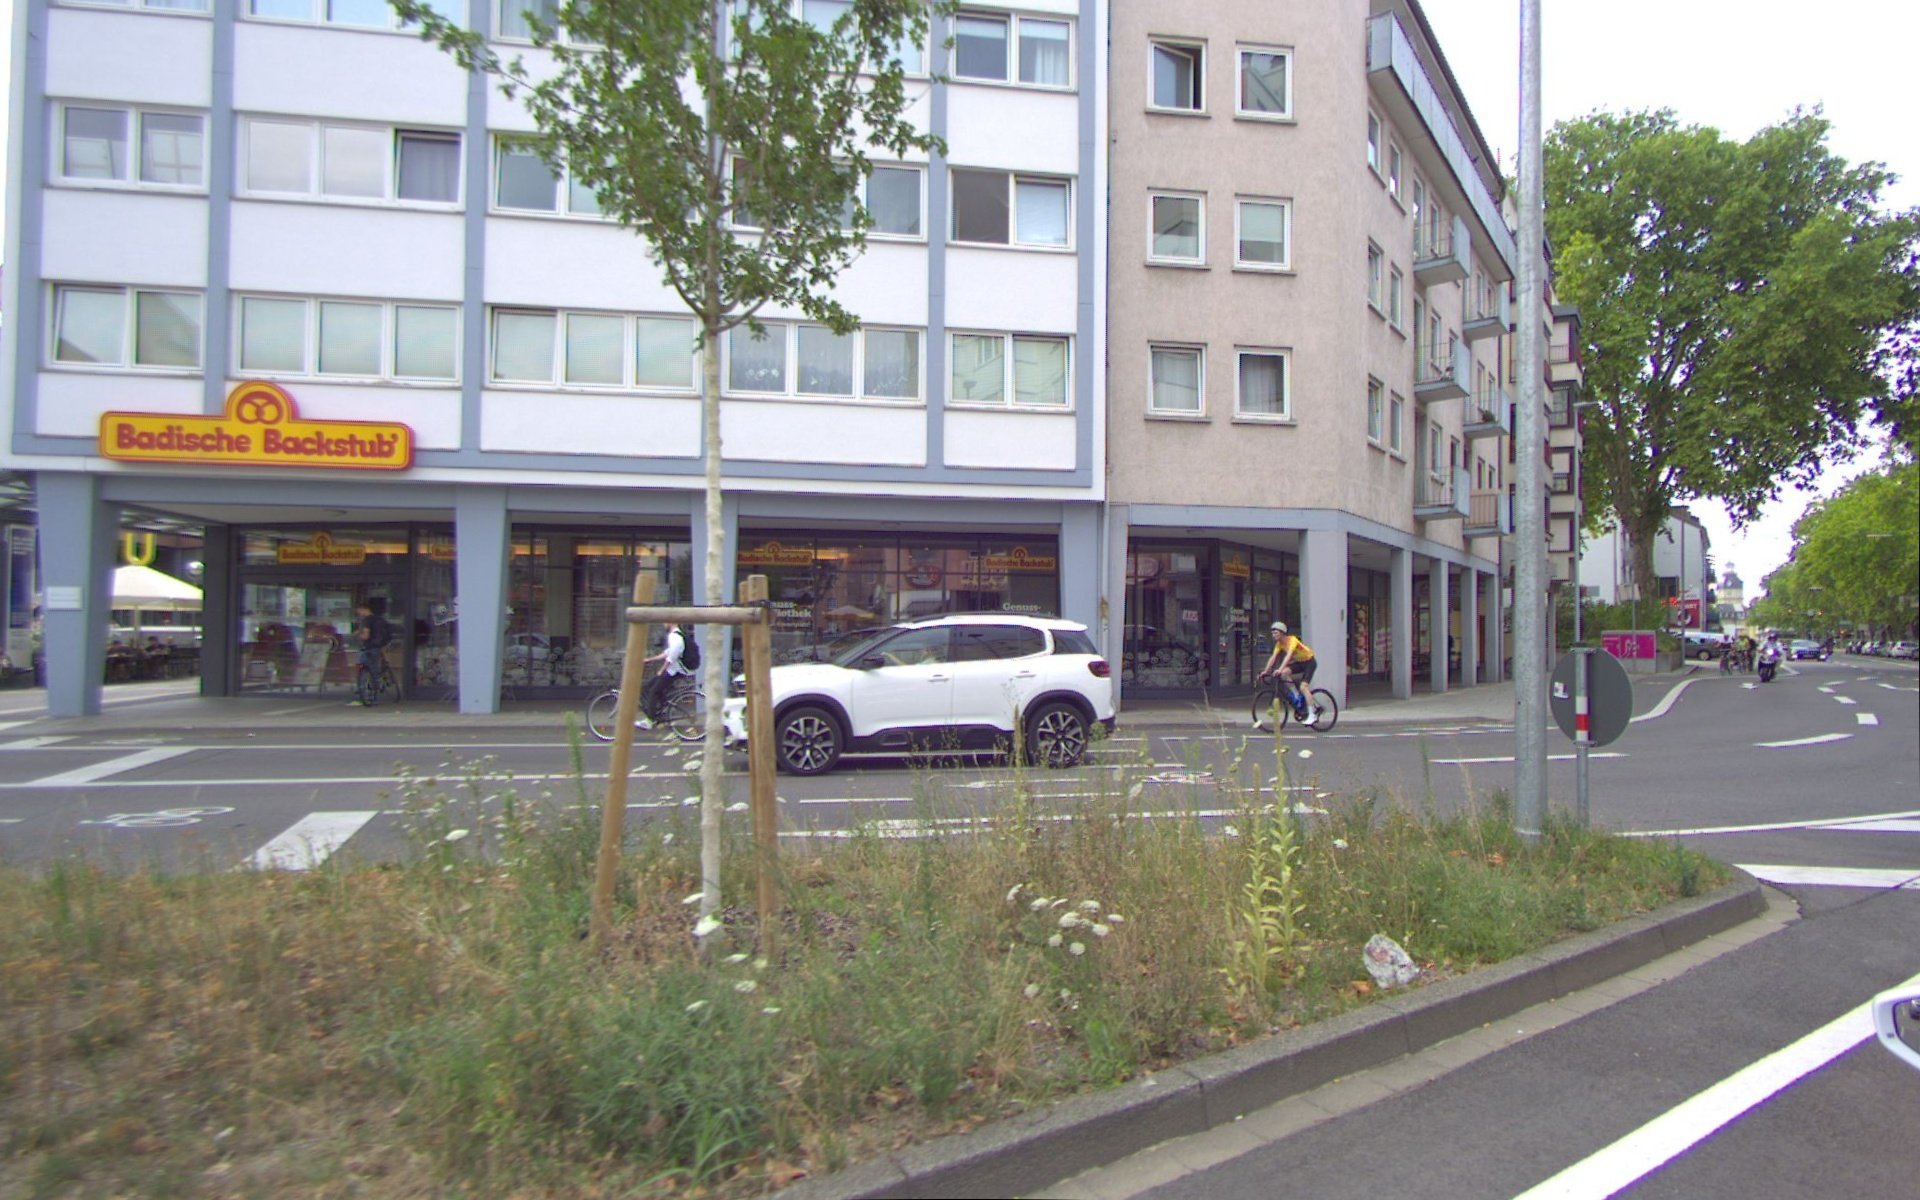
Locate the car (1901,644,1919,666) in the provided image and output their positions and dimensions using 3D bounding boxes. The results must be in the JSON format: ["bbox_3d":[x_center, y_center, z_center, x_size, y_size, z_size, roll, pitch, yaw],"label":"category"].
[{"bbox_3d":[67.933,3.895,70.964,1.609,1.489,4.302,0,-2,37],"label":"car"}]

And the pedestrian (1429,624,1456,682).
[{"bbox_3d":[15.225,1.671,31.662,0.574,1.780,0.781,2,-1,38],"label":"pedestrian"}]

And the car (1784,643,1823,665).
[{"bbox_3d":[56.947,3.637,67.878,1.788,1.426,4.591,-1,-3,37],"label":"car"}]

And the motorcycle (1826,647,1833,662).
[{"bbox_3d":[82.111,5.133,94.846,0.368,1.367,1.725,-1,-2,37],"label":"motorcycle"}]

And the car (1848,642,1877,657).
[{"bbox_3d":[91.572,5.026,101.959,1.619,1.413,3.503,2,-1,34],"label":"car"}]

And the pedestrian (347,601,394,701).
[{"bbox_3d":[-10.698,0.911,18.230,0.578,1.788,0.477,0,-1,-8],"label":"pedestrian"}]

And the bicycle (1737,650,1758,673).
[{"bbox_3d":[39.155,3.058,49.952,0.729,1.020,1.966,1,0,41],"label":"bicycle"}]

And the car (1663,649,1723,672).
[{"bbox_3d":[55.650,4.564,76.276,3.636,1.464,1.746,2,0,38],"label":"car"}]

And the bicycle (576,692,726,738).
[{"bbox_3d":[-4.346,1.623,14.223,1.960,0.596,0.485,1,-2,-5],"label":"bicycle"}]

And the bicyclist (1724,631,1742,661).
[{"bbox_3d":[40.995,2.426,53.265,0.649,1.545,1.070,1,0,42],"label":"bicyclist"}]

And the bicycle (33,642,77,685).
[{"bbox_3d":[-22.142,1.544,24.592,0.468,1.002,1.773,1,-2,-31],"label":"bicycle"}]

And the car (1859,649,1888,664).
[{"bbox_3d":[89.022,5.505,97.904,1.619,1.432,3.406,0,-2,34],"label":"car"}]

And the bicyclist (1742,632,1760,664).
[{"bbox_3d":[39.223,2.382,49.799,0.649,1.545,0.852,1,0,42],"label":"bicyclist"}]

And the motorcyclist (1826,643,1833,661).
[{"bbox_3d":[82.090,4.913,94.806,0.441,1.668,0.517,-1,-2,38],"label":"motorcyclist"}]

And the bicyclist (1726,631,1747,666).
[{"bbox_3d":[35.694,2.234,46.171,0.649,1.545,0.836,1,0,42],"label":"bicyclist"}]

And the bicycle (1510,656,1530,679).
[{"bbox_3d":[21.585,2.583,38.696,0.424,0.832,1.612,-1,-3,38],"label":"bicycle"}]

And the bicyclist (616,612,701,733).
[{"bbox_3d":[-4.264,1.013,14.250,1.018,1.667,0.609,1,-2,-5],"label":"bicyclist"}]

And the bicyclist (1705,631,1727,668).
[{"bbox_3d":[32.607,2.106,43.333,0.649,1.545,0.997,1,0,42],"label":"bicyclist"}]

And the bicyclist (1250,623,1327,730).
[{"bbox_3d":[5.253,1.210,16.092,0.953,1.671,0.713,1,-2,-9],"label":"bicyclist"}]

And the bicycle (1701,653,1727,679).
[{"bbox_3d":[32.591,2.850,43.427,0.729,1.020,1.899,1,0,42],"label":"bicycle"}]

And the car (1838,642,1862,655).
[{"bbox_3d":[101.107,5.496,114.116,1.654,1.412,3.865,0,-2,37],"label":"car"}]

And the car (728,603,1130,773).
[{"bbox_3d":[-0.422,0.949,11.371,4.251,1.681,1.833,1,-3,-14],"label":"car"}]

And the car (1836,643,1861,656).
[{"bbox_3d":[97.496,5.443,110.247,1.654,1.412,3.865,0,-2,37],"label":"car"}]

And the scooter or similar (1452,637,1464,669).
[{"bbox_3d":[20.070,2.124,40.492,0.282,1.217,1.173,-1,-1,34],"label":"scooter or similar"}]

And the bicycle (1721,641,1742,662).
[{"bbox_3d":[40.792,2.731,53.108,0.729,1.020,2.184,1,0,41],"label":"bicycle"}]

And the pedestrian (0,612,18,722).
[{"bbox_3d":[-14.104,0.964,14.505,0.509,1.580,0.499,1,-2,-14],"label":"pedestrian"}]

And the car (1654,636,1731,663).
[{"bbox_3d":[50.549,3.379,69.383,4.205,1.627,1.959,1,0,39],"label":"car"}]

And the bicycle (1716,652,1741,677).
[{"bbox_3d":[35.167,2.942,45.944,0.729,1.020,2.240,1,0,42],"label":"bicycle"}]

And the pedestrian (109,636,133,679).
[{"bbox_3d":[-22.837,1.566,27.345,0.438,1.148,0.530,1,-2,-36],"label":"pedestrian"}]

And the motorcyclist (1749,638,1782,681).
[{"bbox_3d":[27.704,2.049,34.538,0.787,1.479,0.861,-3,-4,41],"label":"motorcyclist"}]

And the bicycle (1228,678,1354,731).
[{"bbox_3d":[5.272,1.651,16.013,1.962,0.805,0.409,1,-2,-11],"label":"bicycle"}]

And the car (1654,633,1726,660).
[{"bbox_3d":[57.291,3.631,78.868,4.471,1.903,2.038,2,-1,39],"label":"car"}]

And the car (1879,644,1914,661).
[{"bbox_3d":[79.725,4.483,85.570,1.654,1.412,4.445,0,-2,37],"label":"car"}]

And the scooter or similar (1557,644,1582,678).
[{"bbox_3d":[23.717,2.376,39.105,0.281,1.281,1.177,0,-2,1],"label":"scooter or similar"}]

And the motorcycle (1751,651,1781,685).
[{"bbox_3d":[27.757,2.331,34.580,0.713,1.109,2.026,-4,-5,41],"label":"motorcycle"}]
